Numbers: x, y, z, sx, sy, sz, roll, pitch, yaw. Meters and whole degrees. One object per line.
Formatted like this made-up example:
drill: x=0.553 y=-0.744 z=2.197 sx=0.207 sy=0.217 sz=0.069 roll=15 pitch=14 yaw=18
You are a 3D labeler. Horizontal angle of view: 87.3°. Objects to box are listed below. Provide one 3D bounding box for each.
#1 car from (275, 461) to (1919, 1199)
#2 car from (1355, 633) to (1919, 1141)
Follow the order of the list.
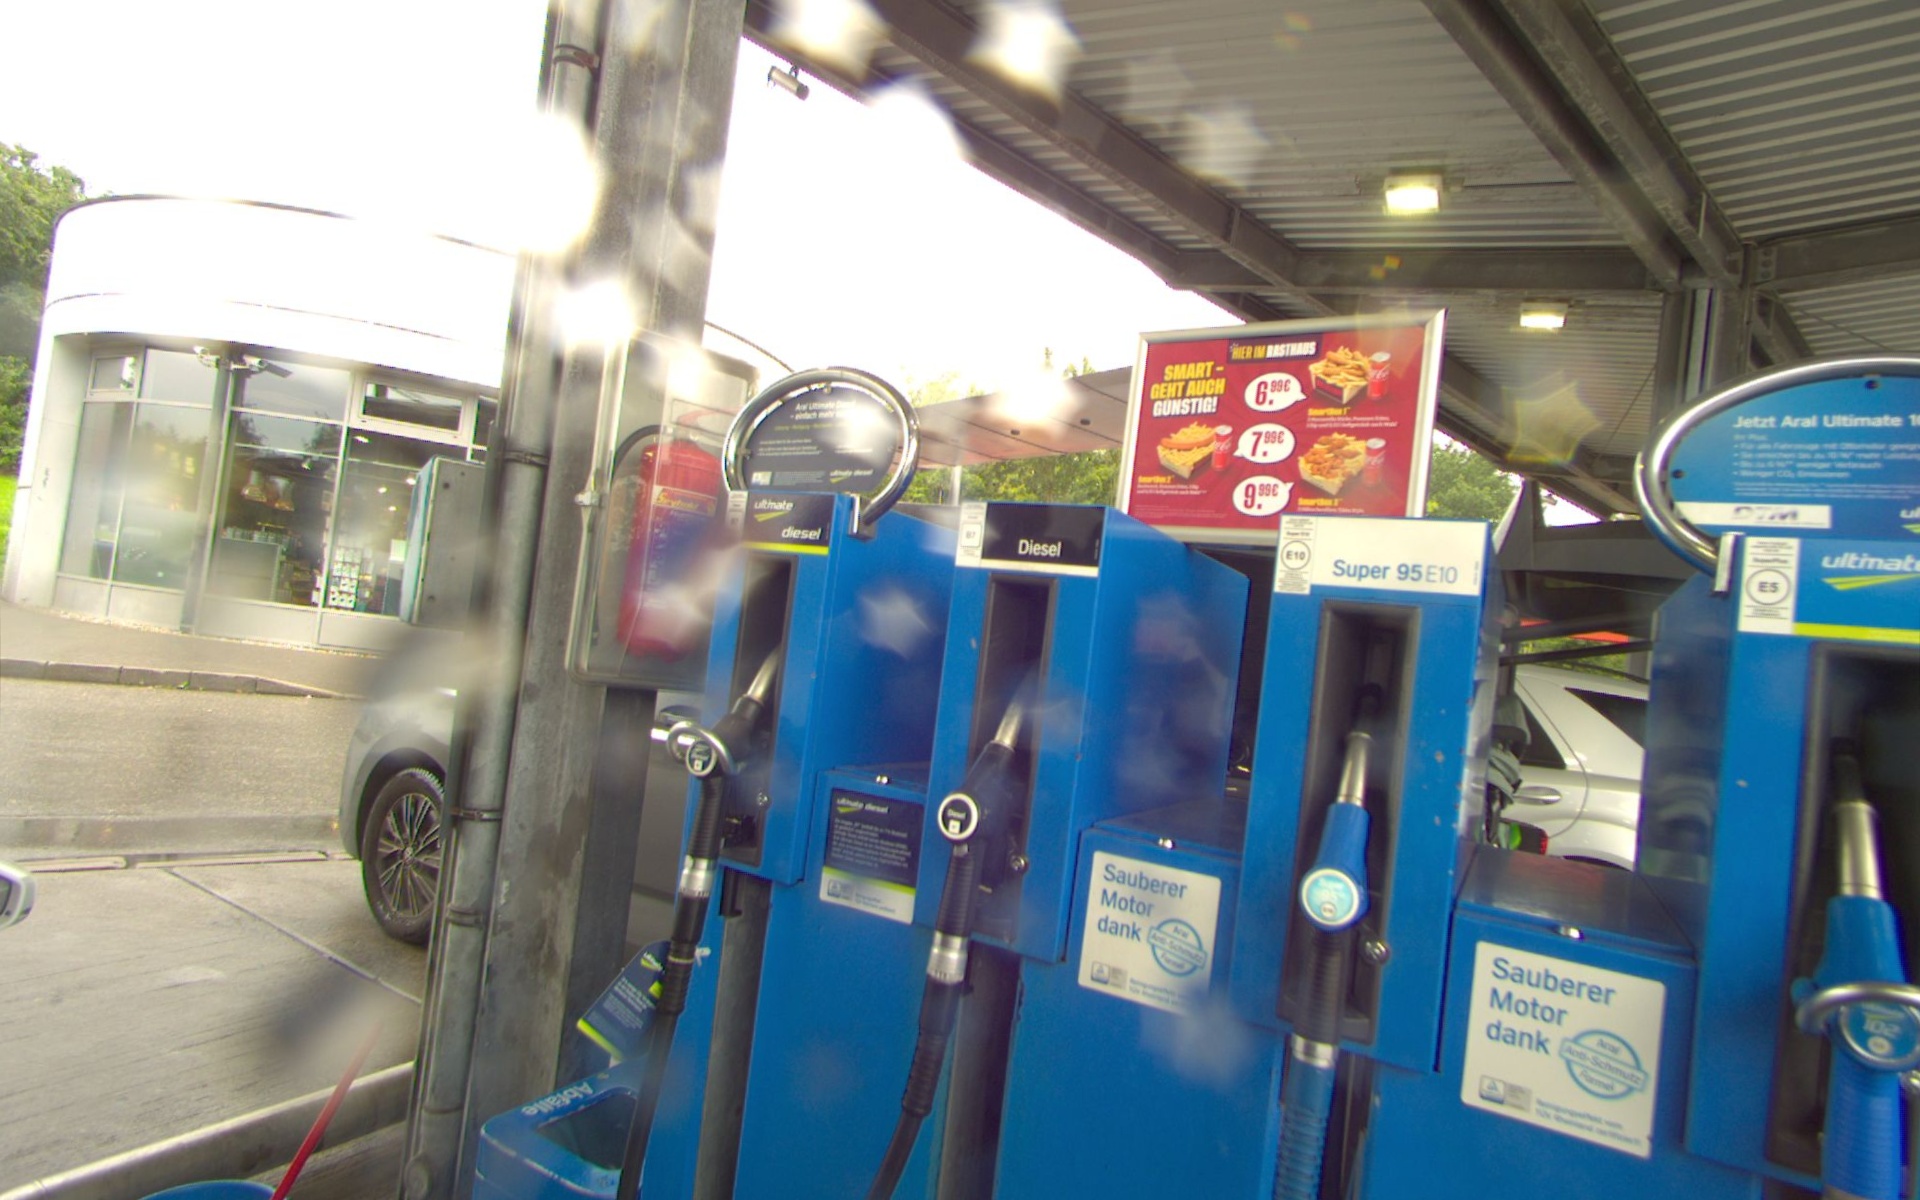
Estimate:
car: x=-0.135 y=0.645 z=3.666 sx=5.055 sy=1.819 sz=1.865 roll=6 pitch=-2 yaw=32
car: x=4.502 y=1.371 z=4.809 sx=4.464 sy=1.819 sz=1.865 roll=6 pitch=-2 yaw=32
